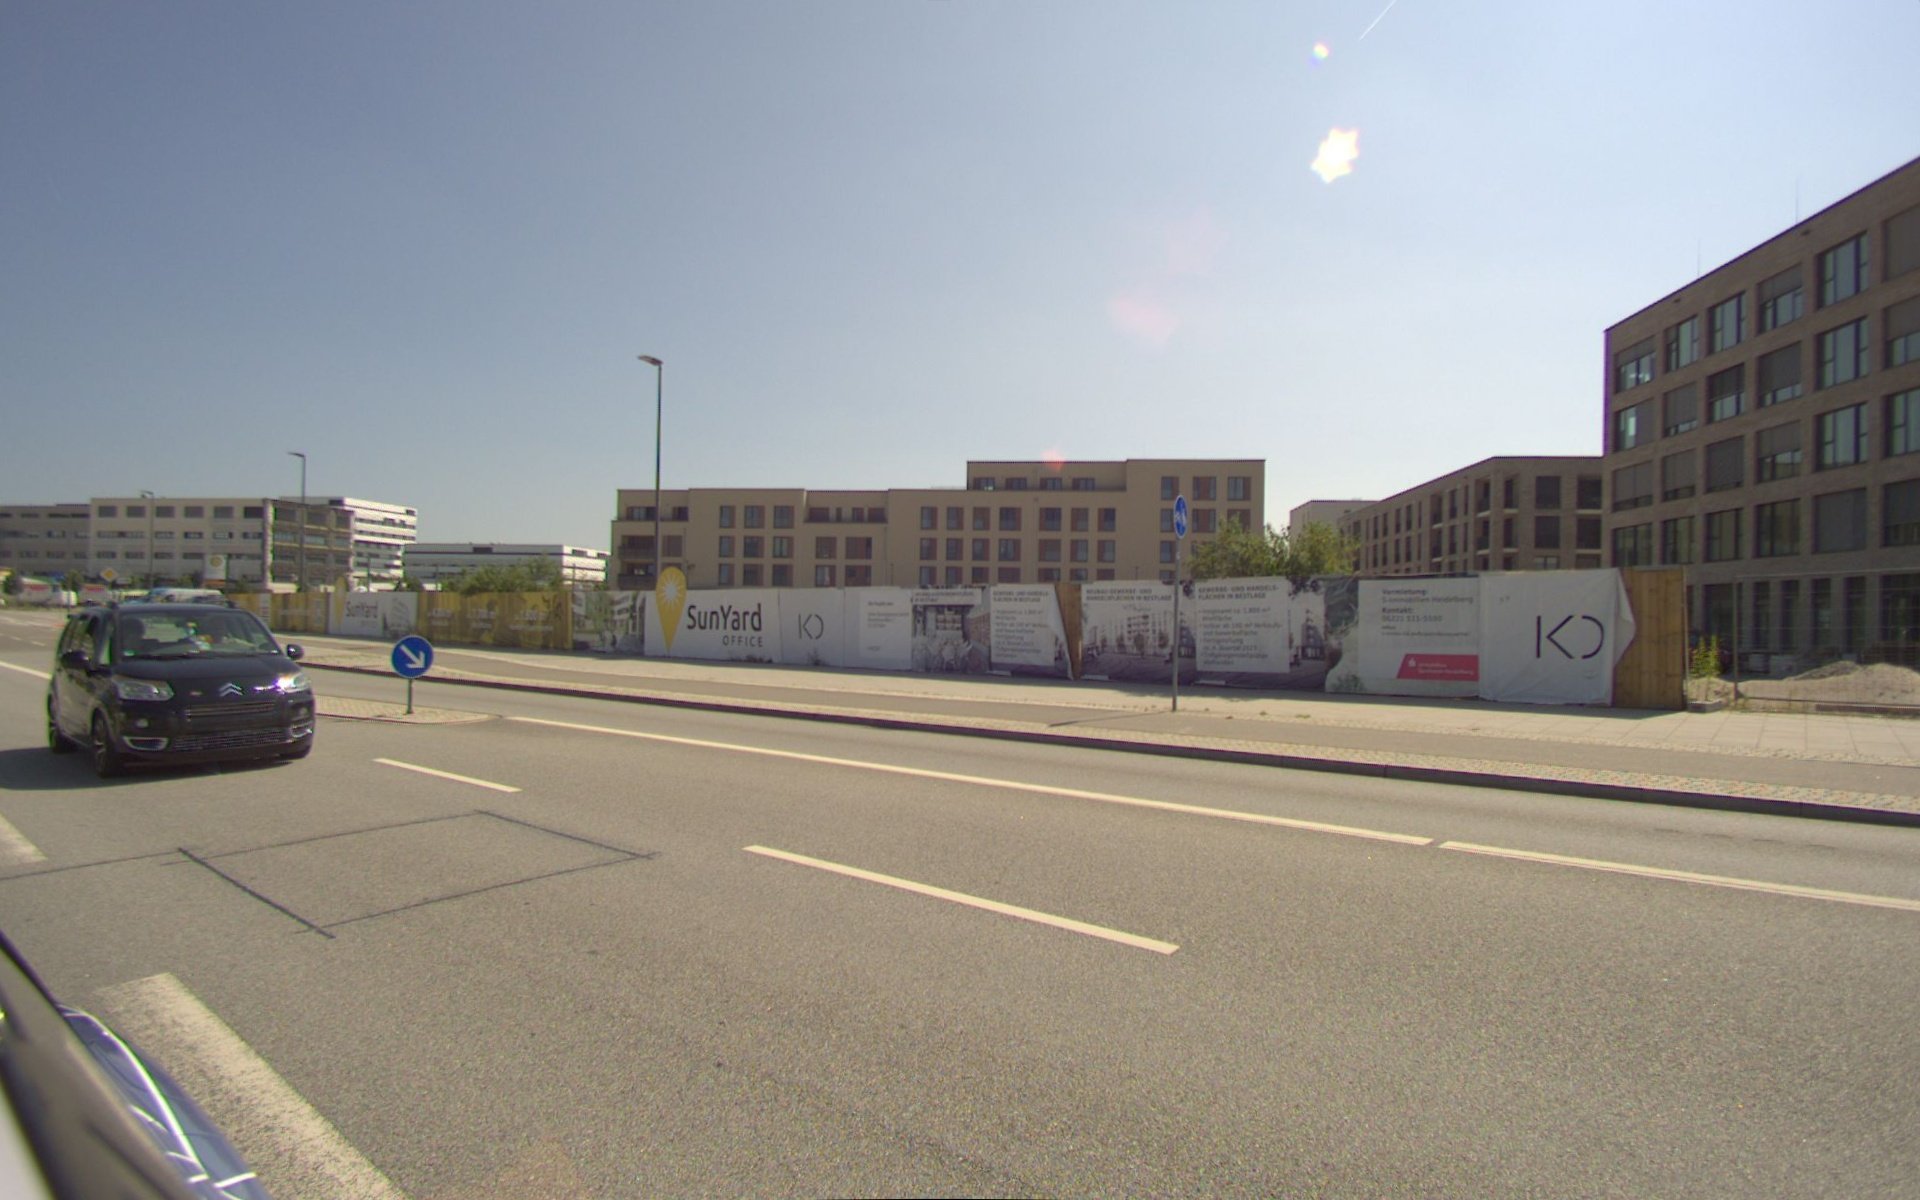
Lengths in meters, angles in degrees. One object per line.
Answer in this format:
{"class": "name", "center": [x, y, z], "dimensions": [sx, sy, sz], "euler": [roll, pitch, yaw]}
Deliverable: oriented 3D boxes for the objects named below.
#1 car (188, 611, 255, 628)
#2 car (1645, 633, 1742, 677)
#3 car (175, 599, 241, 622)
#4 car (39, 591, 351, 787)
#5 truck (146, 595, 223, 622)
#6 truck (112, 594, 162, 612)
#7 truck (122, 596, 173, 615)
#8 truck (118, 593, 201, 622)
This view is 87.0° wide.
{"class": "car", "center": [-48.207, 1.256, 66.094], "dimensions": [1.293, 0.960, 3.315], "euler": [0, 0, 43]}
{"class": "car", "center": [32.349, 2.396, 44.778], "dimensions": [1.814, 1.666, 3.771], "euler": [-1, 0, 7]}
{"class": "car", "center": [-59.887, 0.840, 80.651], "dimensions": [1.888, 1.731, 3.884], "euler": [0, 0, 35]}
{"class": "car", "center": [-8.020, 0.752, 10.492], "dimensions": [3.914, 1.634, 1.785], "euler": [0, 1, 41]}
{"class": "truck", "center": [-66.732, 0.686, 87.134], "dimensions": [1.998, 2.245, 4.942], "euler": [0, 0, 39]}
{"class": "truck", "center": [-119.896, 0.465, 147.490], "dimensions": [1.998, 2.494, 5.346], "euler": [0, 0, 38]}
{"class": "truck", "center": [-114.009, 0.731, 142.021], "dimensions": [1.996, 2.494, 5.270], "euler": [0, 0, 36]}
{"class": "truck", "center": [-72.538, 0.675, 91.745], "dimensions": [1.996, 2.494, 5.567], "euler": [0, 0, 36]}
